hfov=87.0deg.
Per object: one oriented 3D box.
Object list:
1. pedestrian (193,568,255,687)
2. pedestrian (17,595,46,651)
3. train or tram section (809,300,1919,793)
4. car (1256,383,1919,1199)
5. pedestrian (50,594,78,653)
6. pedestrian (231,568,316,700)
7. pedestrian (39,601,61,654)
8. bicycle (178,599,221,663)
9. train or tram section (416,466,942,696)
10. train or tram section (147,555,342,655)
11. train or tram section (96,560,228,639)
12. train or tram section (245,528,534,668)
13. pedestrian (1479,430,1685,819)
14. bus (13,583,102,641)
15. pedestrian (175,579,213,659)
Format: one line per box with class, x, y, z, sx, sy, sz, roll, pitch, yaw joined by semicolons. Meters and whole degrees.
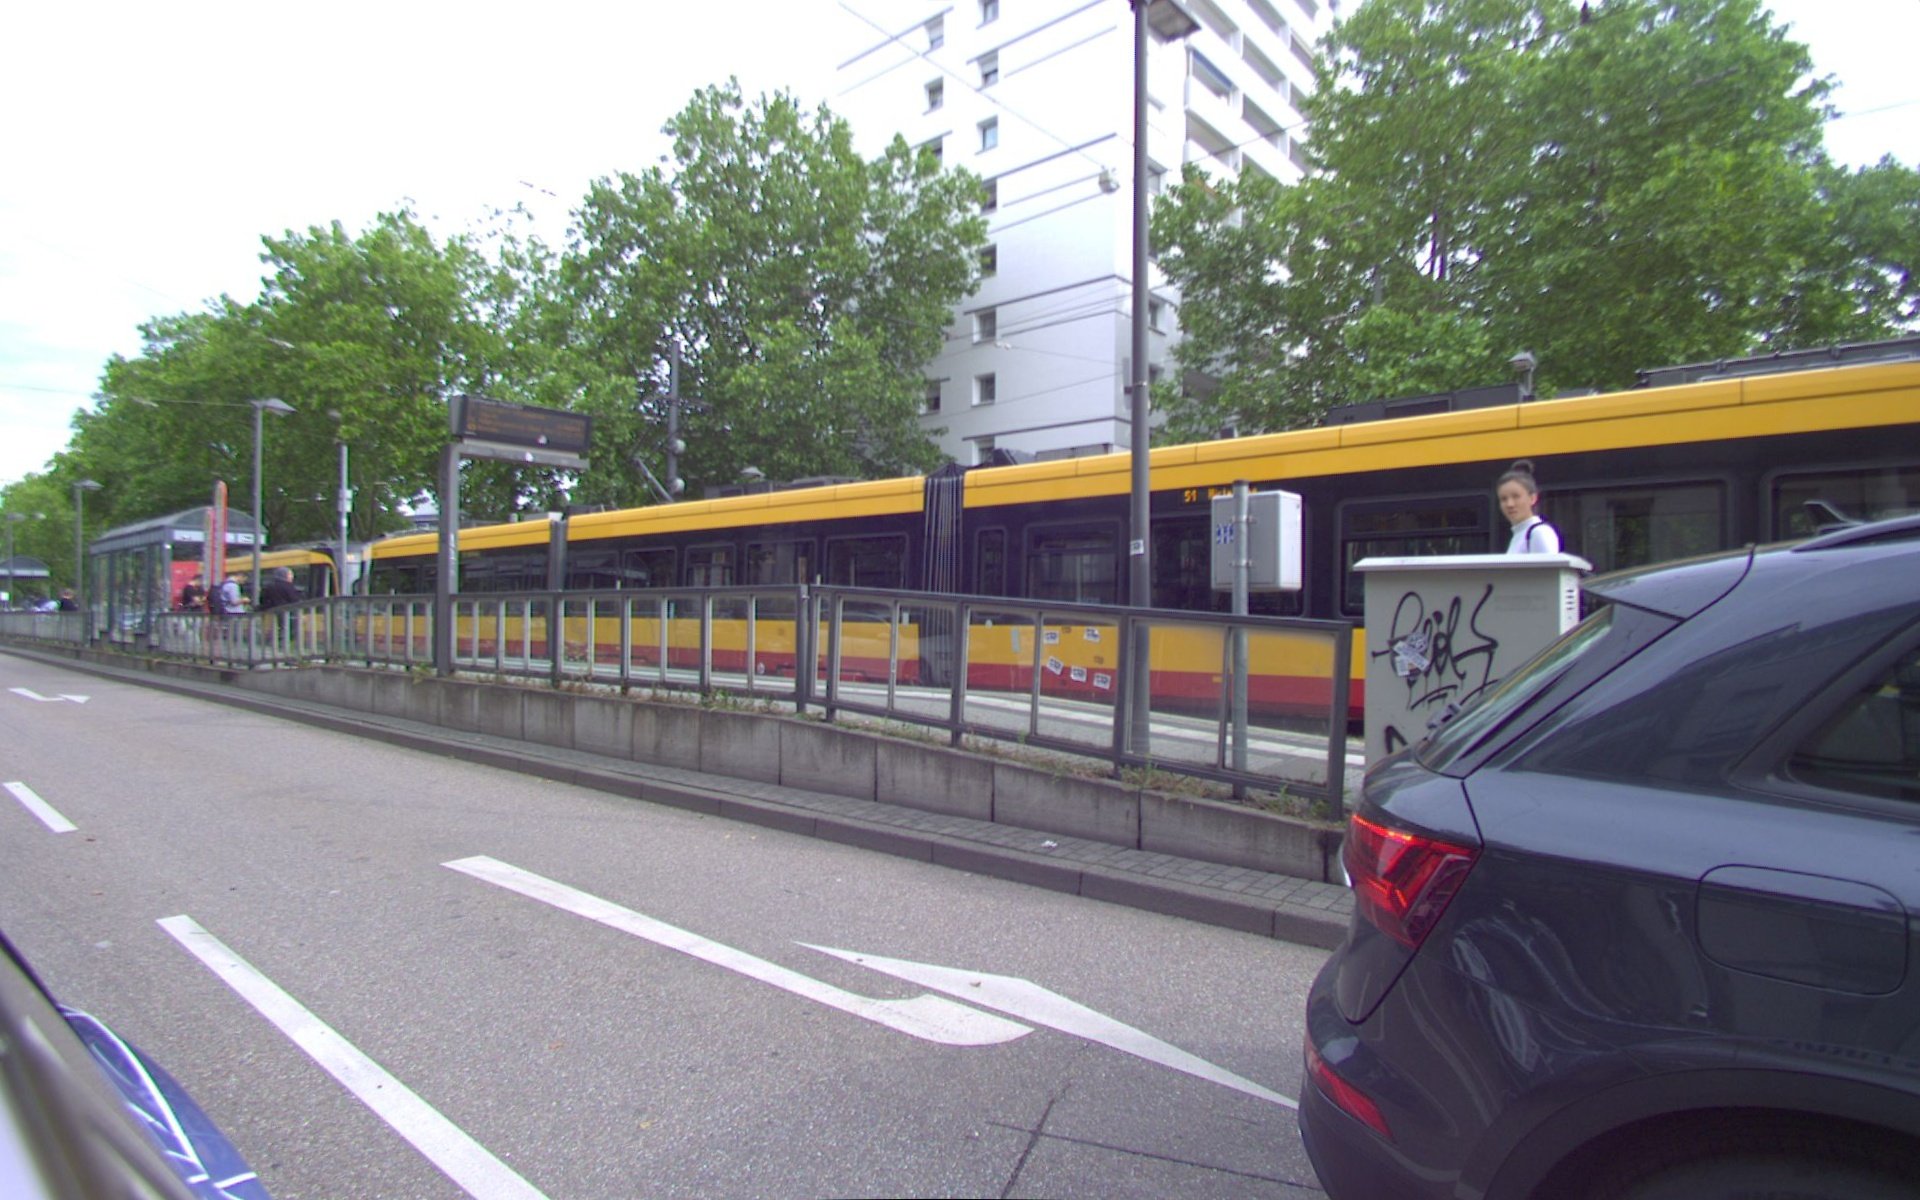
pedestrian;-12.920;0.469;17.786;0.742;2.029;0.821;-1;0;-26
pedestrian;-34.039;0.834;37.103;0.587;2.029;0.668;-1;0;38
train or tram section;4.620;-0.380;11.552;15.841;3.615;3.028;0;0;41
car;2.754;0.544;1.018;4.354;1.613;1.861;-1;0;40
pedestrian;-25.498;0.650;28.790;0.730;1.645;0.506;-1;0;42
pedestrian;-10.781;0.523;15.912;0.808;2.029;0.754;-1;0;4
pedestrian;-28.932;0.873;32.174;0.392;1.645;0.474;-1;0;42
bicycle;-15.145;0.609;20.134;1.289;1.231;0.414;-1;0;41
train or tram section;-7.059;-0.263;21.810;15.287;3.558;3.028;0;0;41
train or tram section;-30.210;0.209;42.156;15.764;3.558;3.028;0;0;41
train or tram section;-40.820;-0.006;51.530;12.534;3.588;3.060;0;0;41
train or tram section;-18.548;-0.013;31.920;15.287;3.558;3.028;0;0;41
pedestrian;3.004;0.103;4.879;0.730;1.674;0.746;-1;0;41
bus;-33.536;0.427;37.580;3.998;2.029;1.973;0;0;41
pedestrian;-15.983;0.387;21.113;0.471;1.645;0.526;-1;0;39
